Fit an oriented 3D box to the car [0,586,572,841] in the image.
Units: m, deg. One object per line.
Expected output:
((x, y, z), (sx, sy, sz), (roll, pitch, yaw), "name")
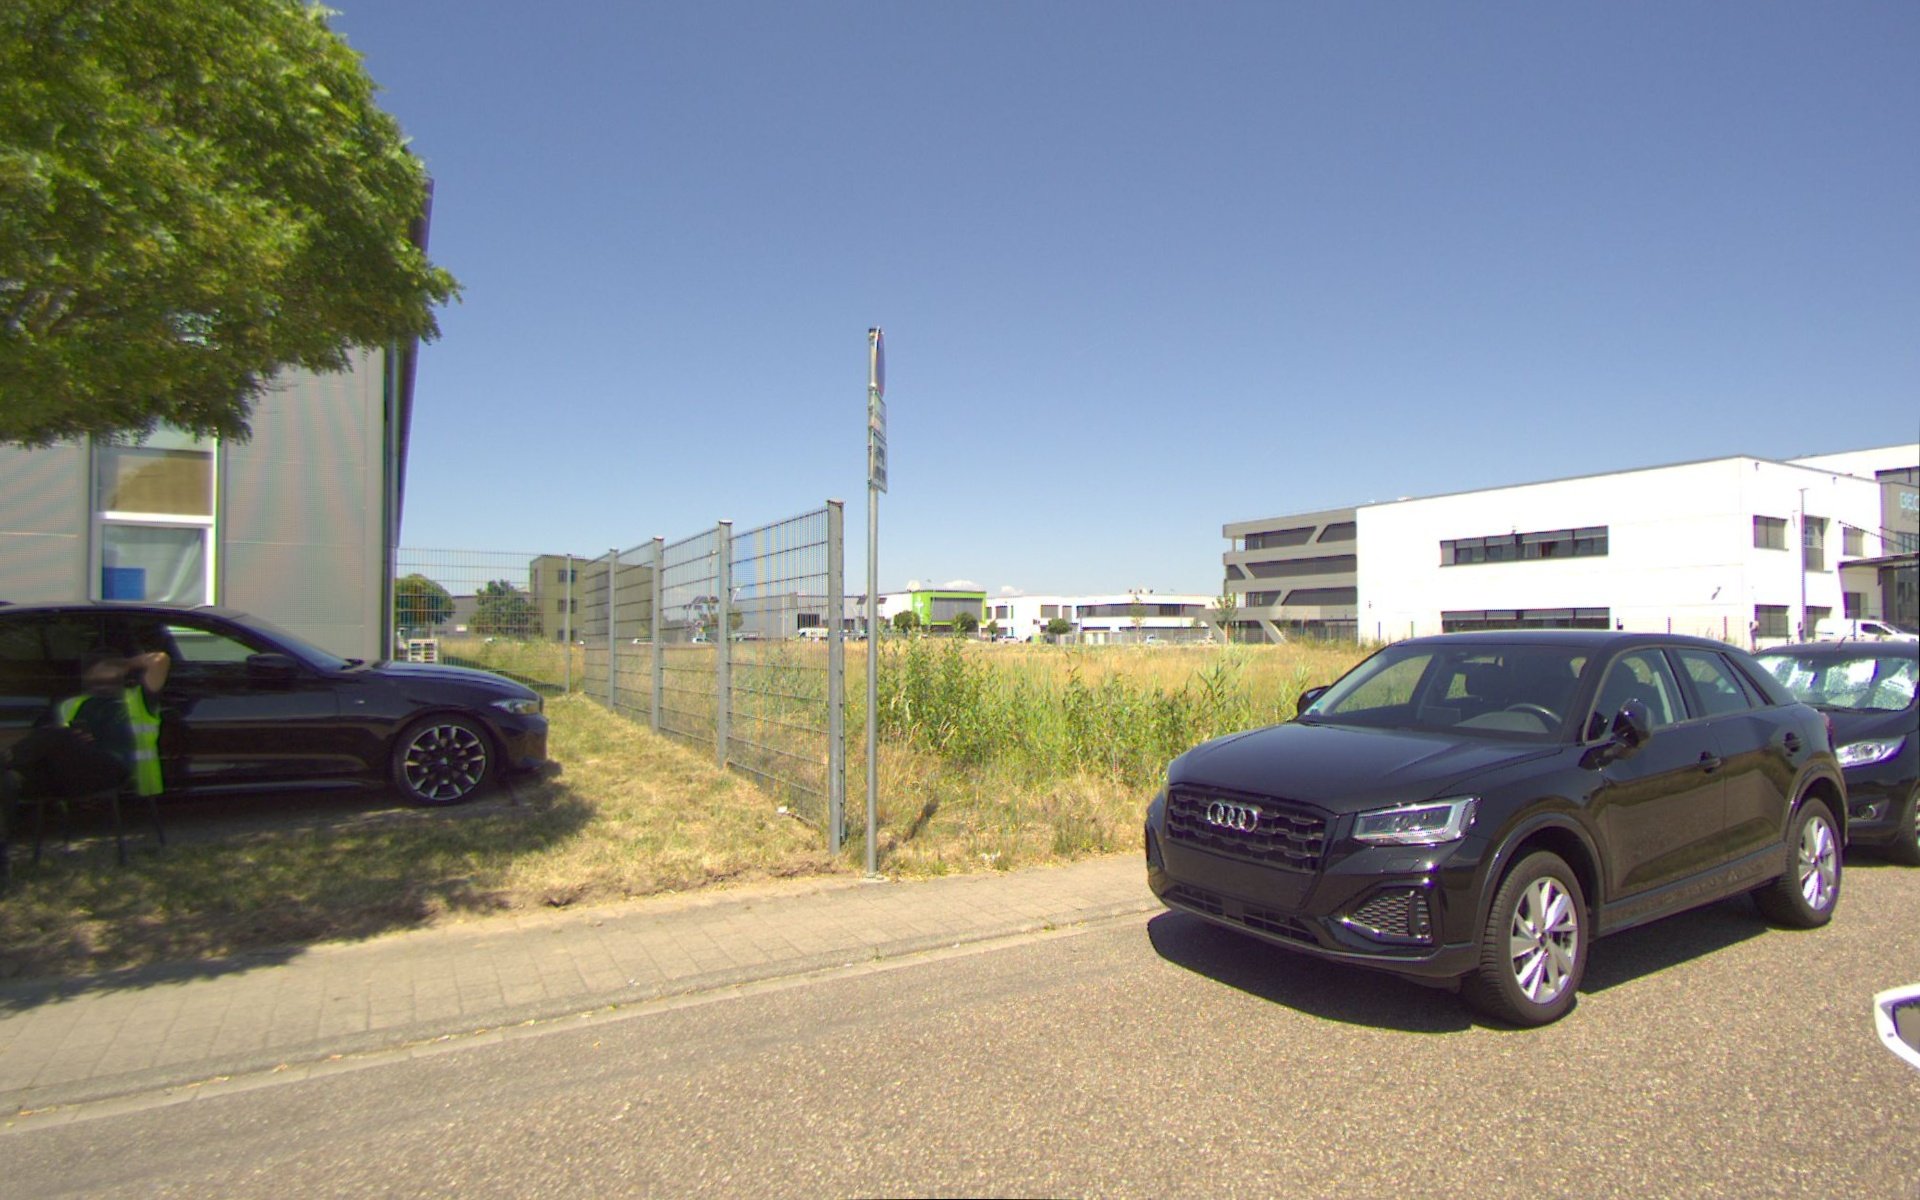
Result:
((-5.390, 0.673, 7.163), (4.639, 1.484, 1.916), (1, 0, -32), "car")

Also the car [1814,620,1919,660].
((47.746, 2.104, 52.350), (2.007, 1.968, 4.509), (1, -3, -29), "car")

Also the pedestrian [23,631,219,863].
((-4.728, 0.792, 5.704), (0.743, 1.207, 0.504), (1, 1, -28), "pedestrian")

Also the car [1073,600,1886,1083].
((2.812, 0.865, 5.244), (4.143, 1.588, 1.917), (1, -3, -32), "car")

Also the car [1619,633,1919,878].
((7.013, 1.019, 7.868), (3.788, 1.512, 1.583), (1, -3, -31), "car")

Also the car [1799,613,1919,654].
((45.671, 1.726, 50.839), (2.007, 1.968, 4.509), (1, -3, -29), "car")

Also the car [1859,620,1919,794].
((11.314, 1.056, 10.482), (4.187, 1.685, 1.669), (1, -3, -31), "car")
